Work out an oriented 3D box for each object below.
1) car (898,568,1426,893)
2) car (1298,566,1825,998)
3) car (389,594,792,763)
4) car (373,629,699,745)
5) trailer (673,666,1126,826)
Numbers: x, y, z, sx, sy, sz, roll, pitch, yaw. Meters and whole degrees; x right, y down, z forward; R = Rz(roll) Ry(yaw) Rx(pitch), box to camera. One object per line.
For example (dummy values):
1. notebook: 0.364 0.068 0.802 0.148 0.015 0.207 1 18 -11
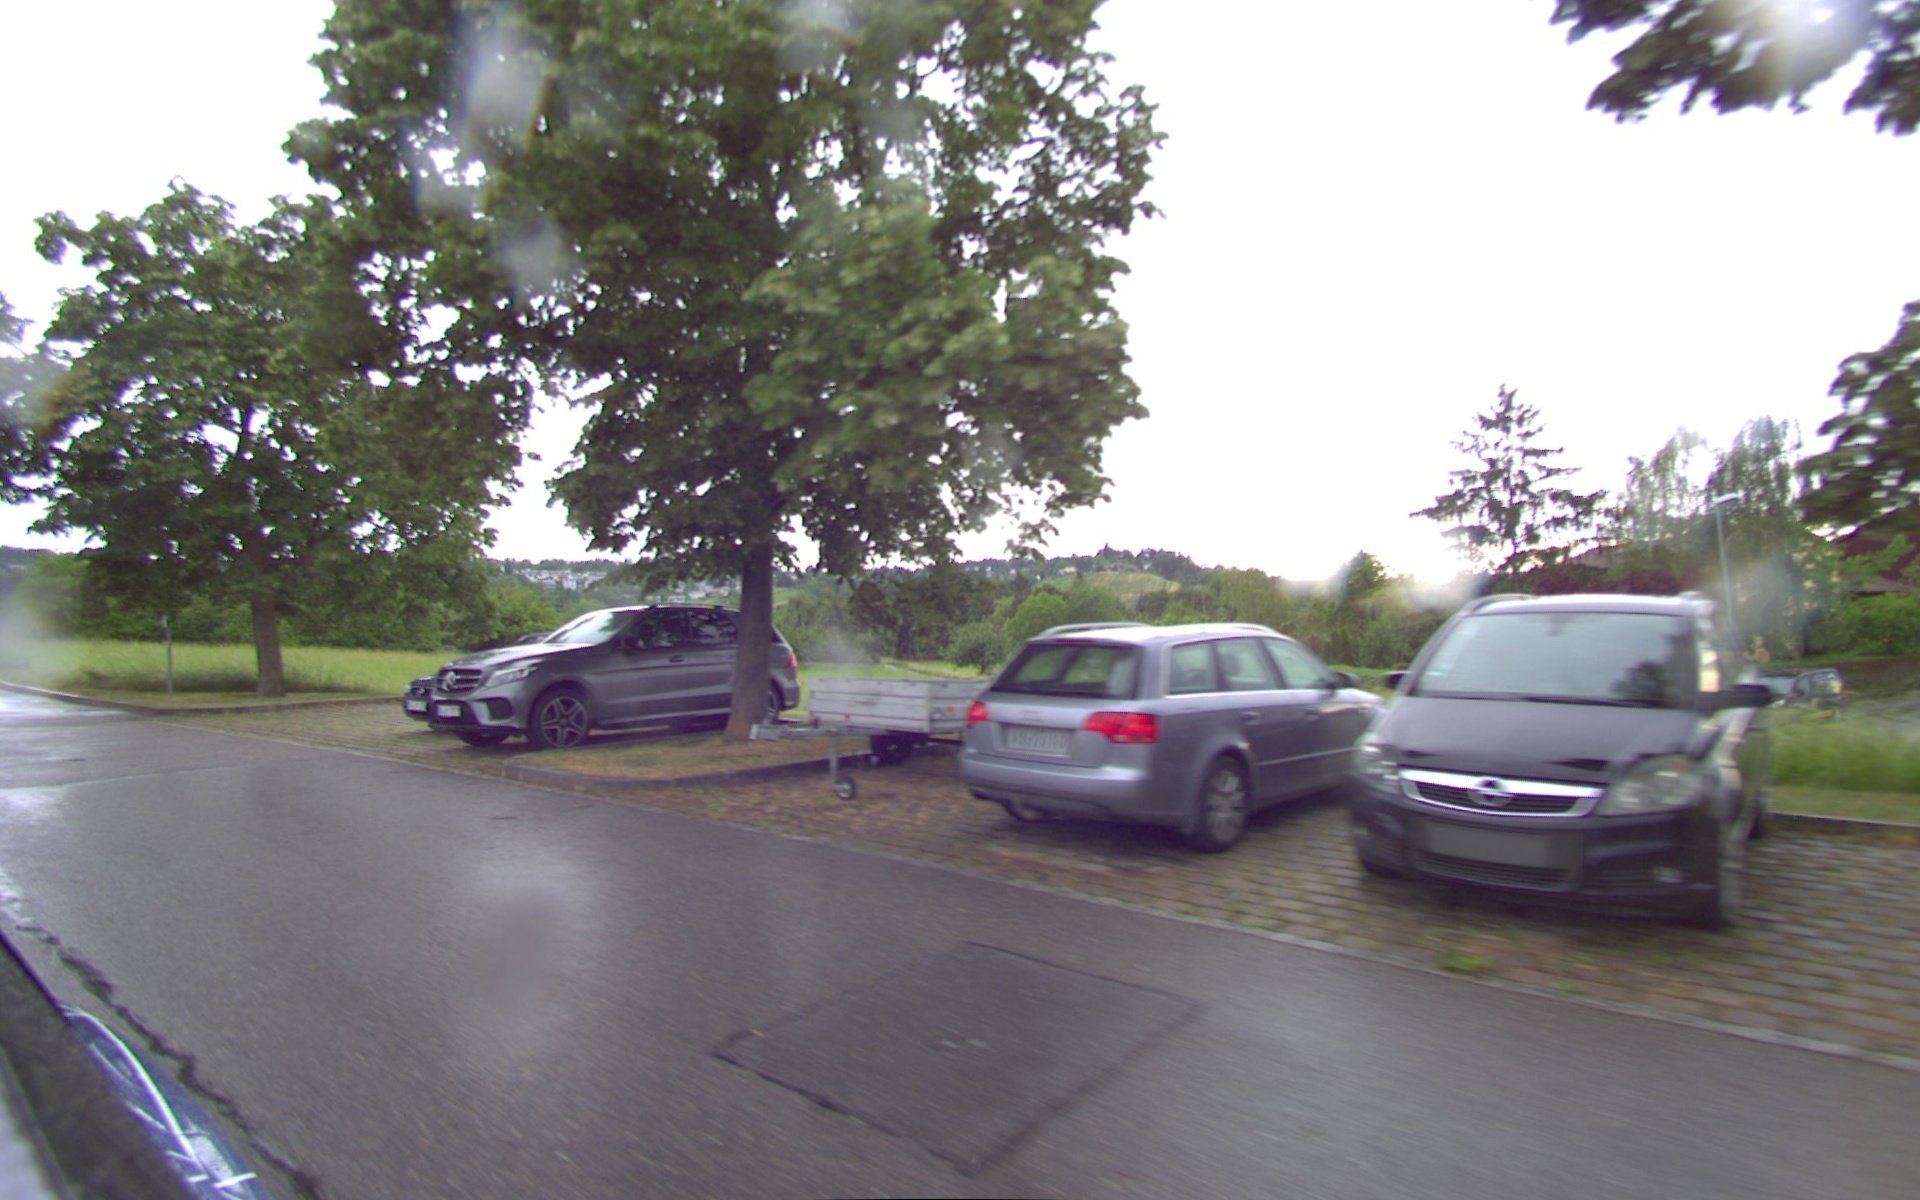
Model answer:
1. car: 1.706 0.711 7.582 2.026 1.735 4.028 -1 -1 44
2. car: 3.880 0.688 6.065 1.806 1.602 4.567 -1 -1 43
3. car: -4.441 0.897 12.753 2.042 1.735 4.324 -1 -3 39
4. car: -6.079 1.162 14.985 1.770 1.442 4.176 -1 -2 35
5. trailer: -0.369 1.158 9.226 1.999 0.968 3.900 -2 -3 40
